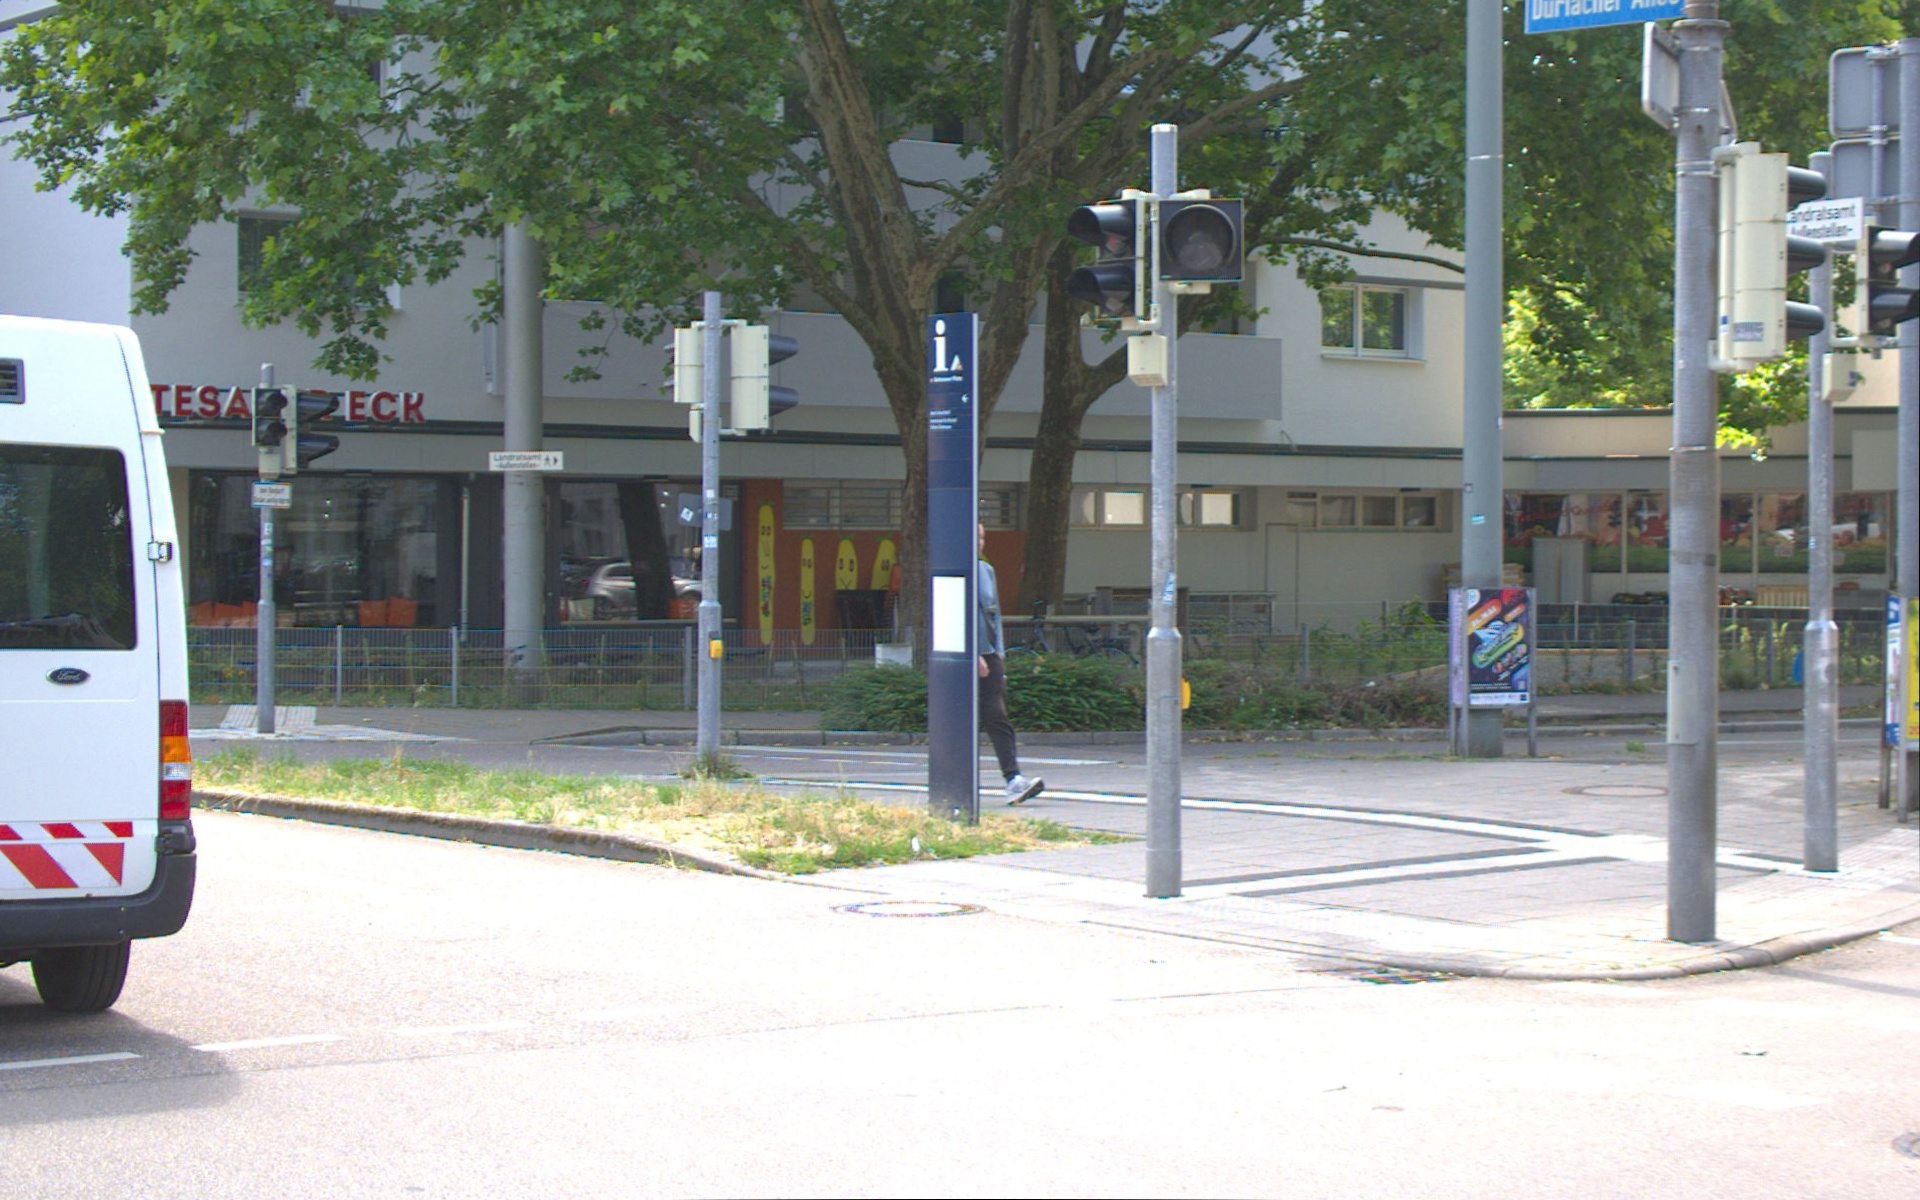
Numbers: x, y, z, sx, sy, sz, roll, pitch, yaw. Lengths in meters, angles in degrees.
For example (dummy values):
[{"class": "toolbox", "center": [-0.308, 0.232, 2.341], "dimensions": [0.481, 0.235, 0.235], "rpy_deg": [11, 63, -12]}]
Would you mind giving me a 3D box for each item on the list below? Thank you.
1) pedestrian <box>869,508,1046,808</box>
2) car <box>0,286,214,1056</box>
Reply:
[{"class": "pedestrian", "center": [-0.018, 0.330, 20.941], "dimensions": [0.692, 1.777, 0.887], "rpy_deg": [-1, 1, -35]}, {"class": "car", "center": [-4.420, 0.173, 12.204], "dimensions": [2.047, 2.325, 4.714], "rpy_deg": [-1, 2, -31]}]
